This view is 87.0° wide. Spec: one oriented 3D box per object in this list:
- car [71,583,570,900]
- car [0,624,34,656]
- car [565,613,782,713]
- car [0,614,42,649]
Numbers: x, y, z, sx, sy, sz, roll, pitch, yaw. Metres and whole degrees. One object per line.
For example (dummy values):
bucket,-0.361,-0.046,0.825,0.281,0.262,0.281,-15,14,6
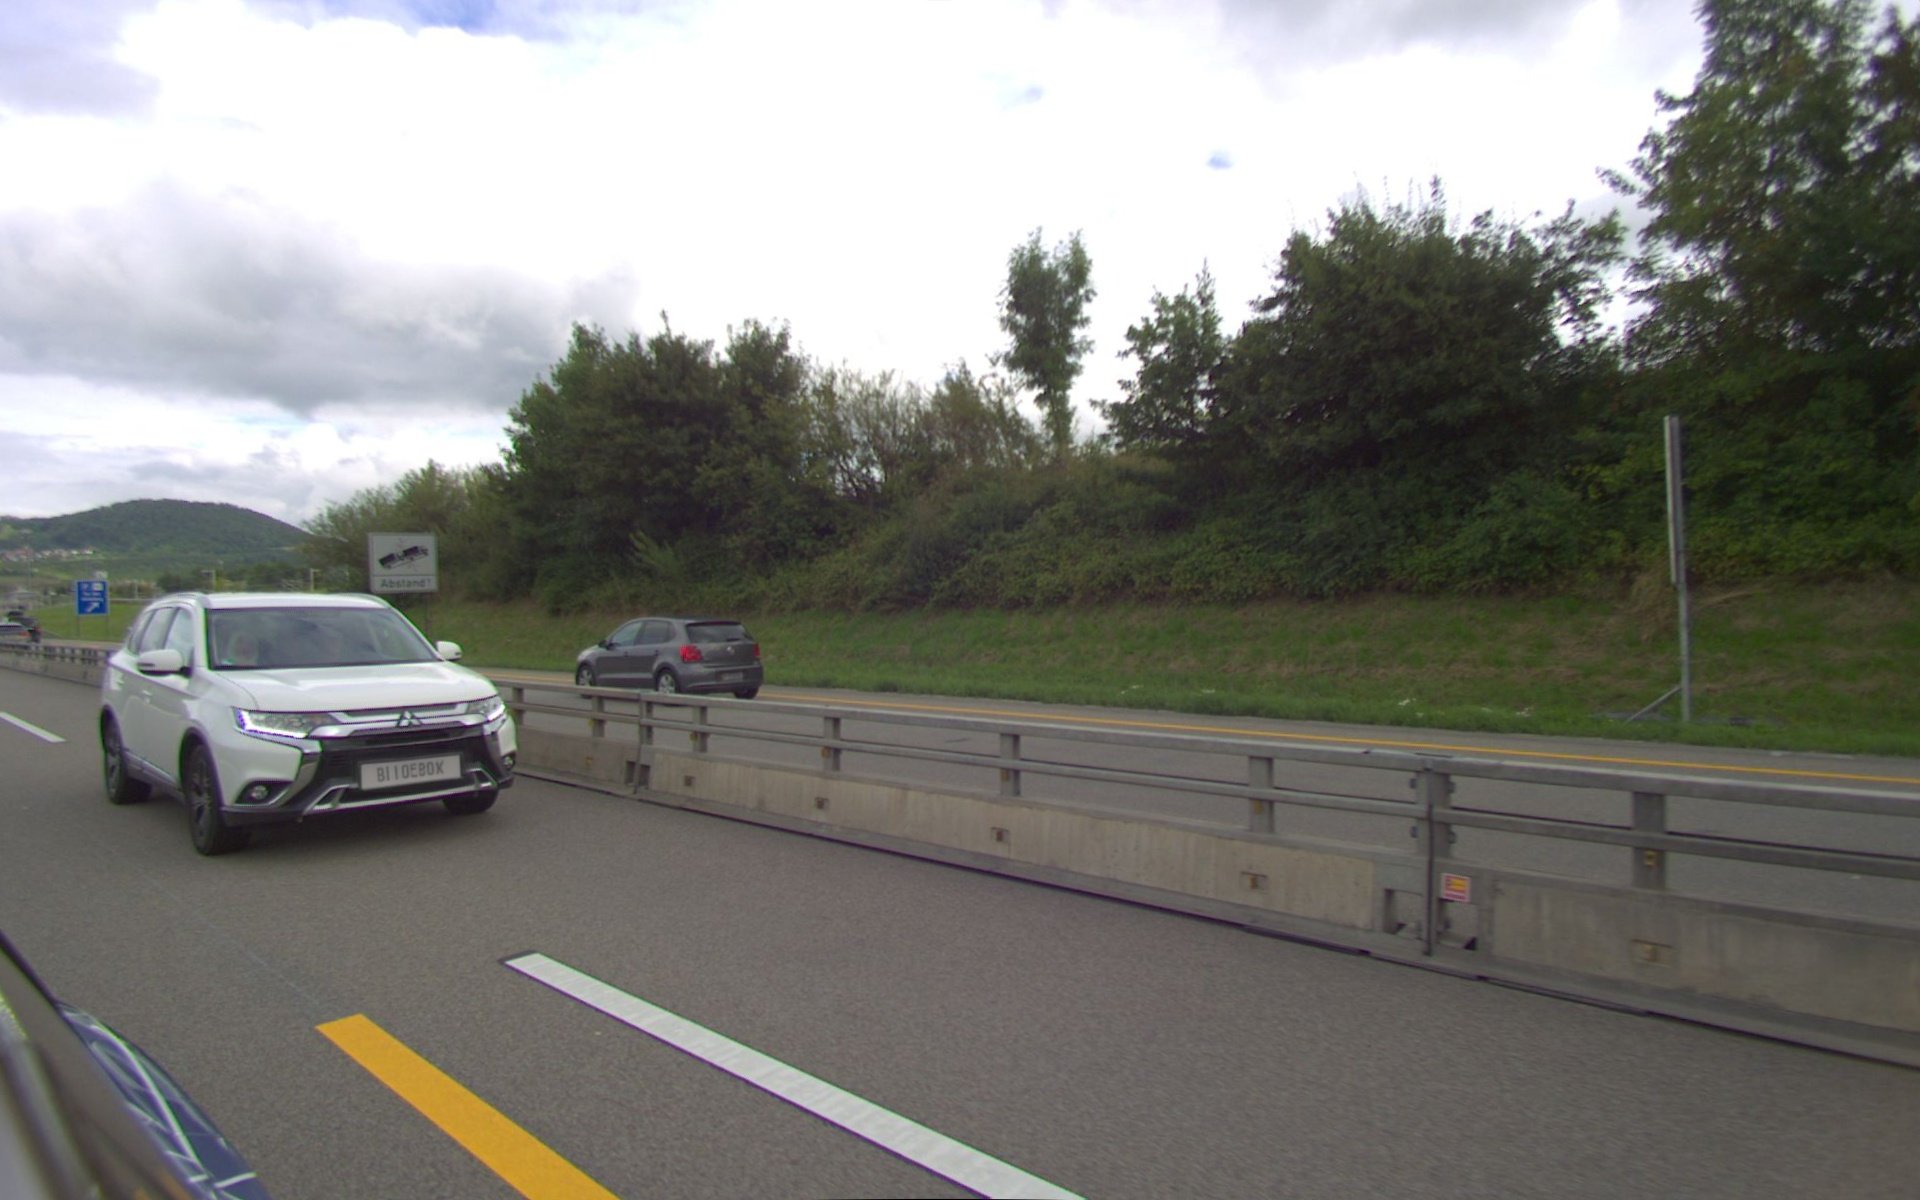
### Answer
car,-4.958,0.782,7.536,4.605,1.640,1.972,-2,-1,42
car,-47.786,1.972,50.339,4.950,1.532,1.973,-1,-1,41
car,-4.796,0.970,16.712,3.785,1.451,1.651,-1,-1,41
car,-63.918,2.130,68.508,5.045,2.270,1.974,-2,-1,40
